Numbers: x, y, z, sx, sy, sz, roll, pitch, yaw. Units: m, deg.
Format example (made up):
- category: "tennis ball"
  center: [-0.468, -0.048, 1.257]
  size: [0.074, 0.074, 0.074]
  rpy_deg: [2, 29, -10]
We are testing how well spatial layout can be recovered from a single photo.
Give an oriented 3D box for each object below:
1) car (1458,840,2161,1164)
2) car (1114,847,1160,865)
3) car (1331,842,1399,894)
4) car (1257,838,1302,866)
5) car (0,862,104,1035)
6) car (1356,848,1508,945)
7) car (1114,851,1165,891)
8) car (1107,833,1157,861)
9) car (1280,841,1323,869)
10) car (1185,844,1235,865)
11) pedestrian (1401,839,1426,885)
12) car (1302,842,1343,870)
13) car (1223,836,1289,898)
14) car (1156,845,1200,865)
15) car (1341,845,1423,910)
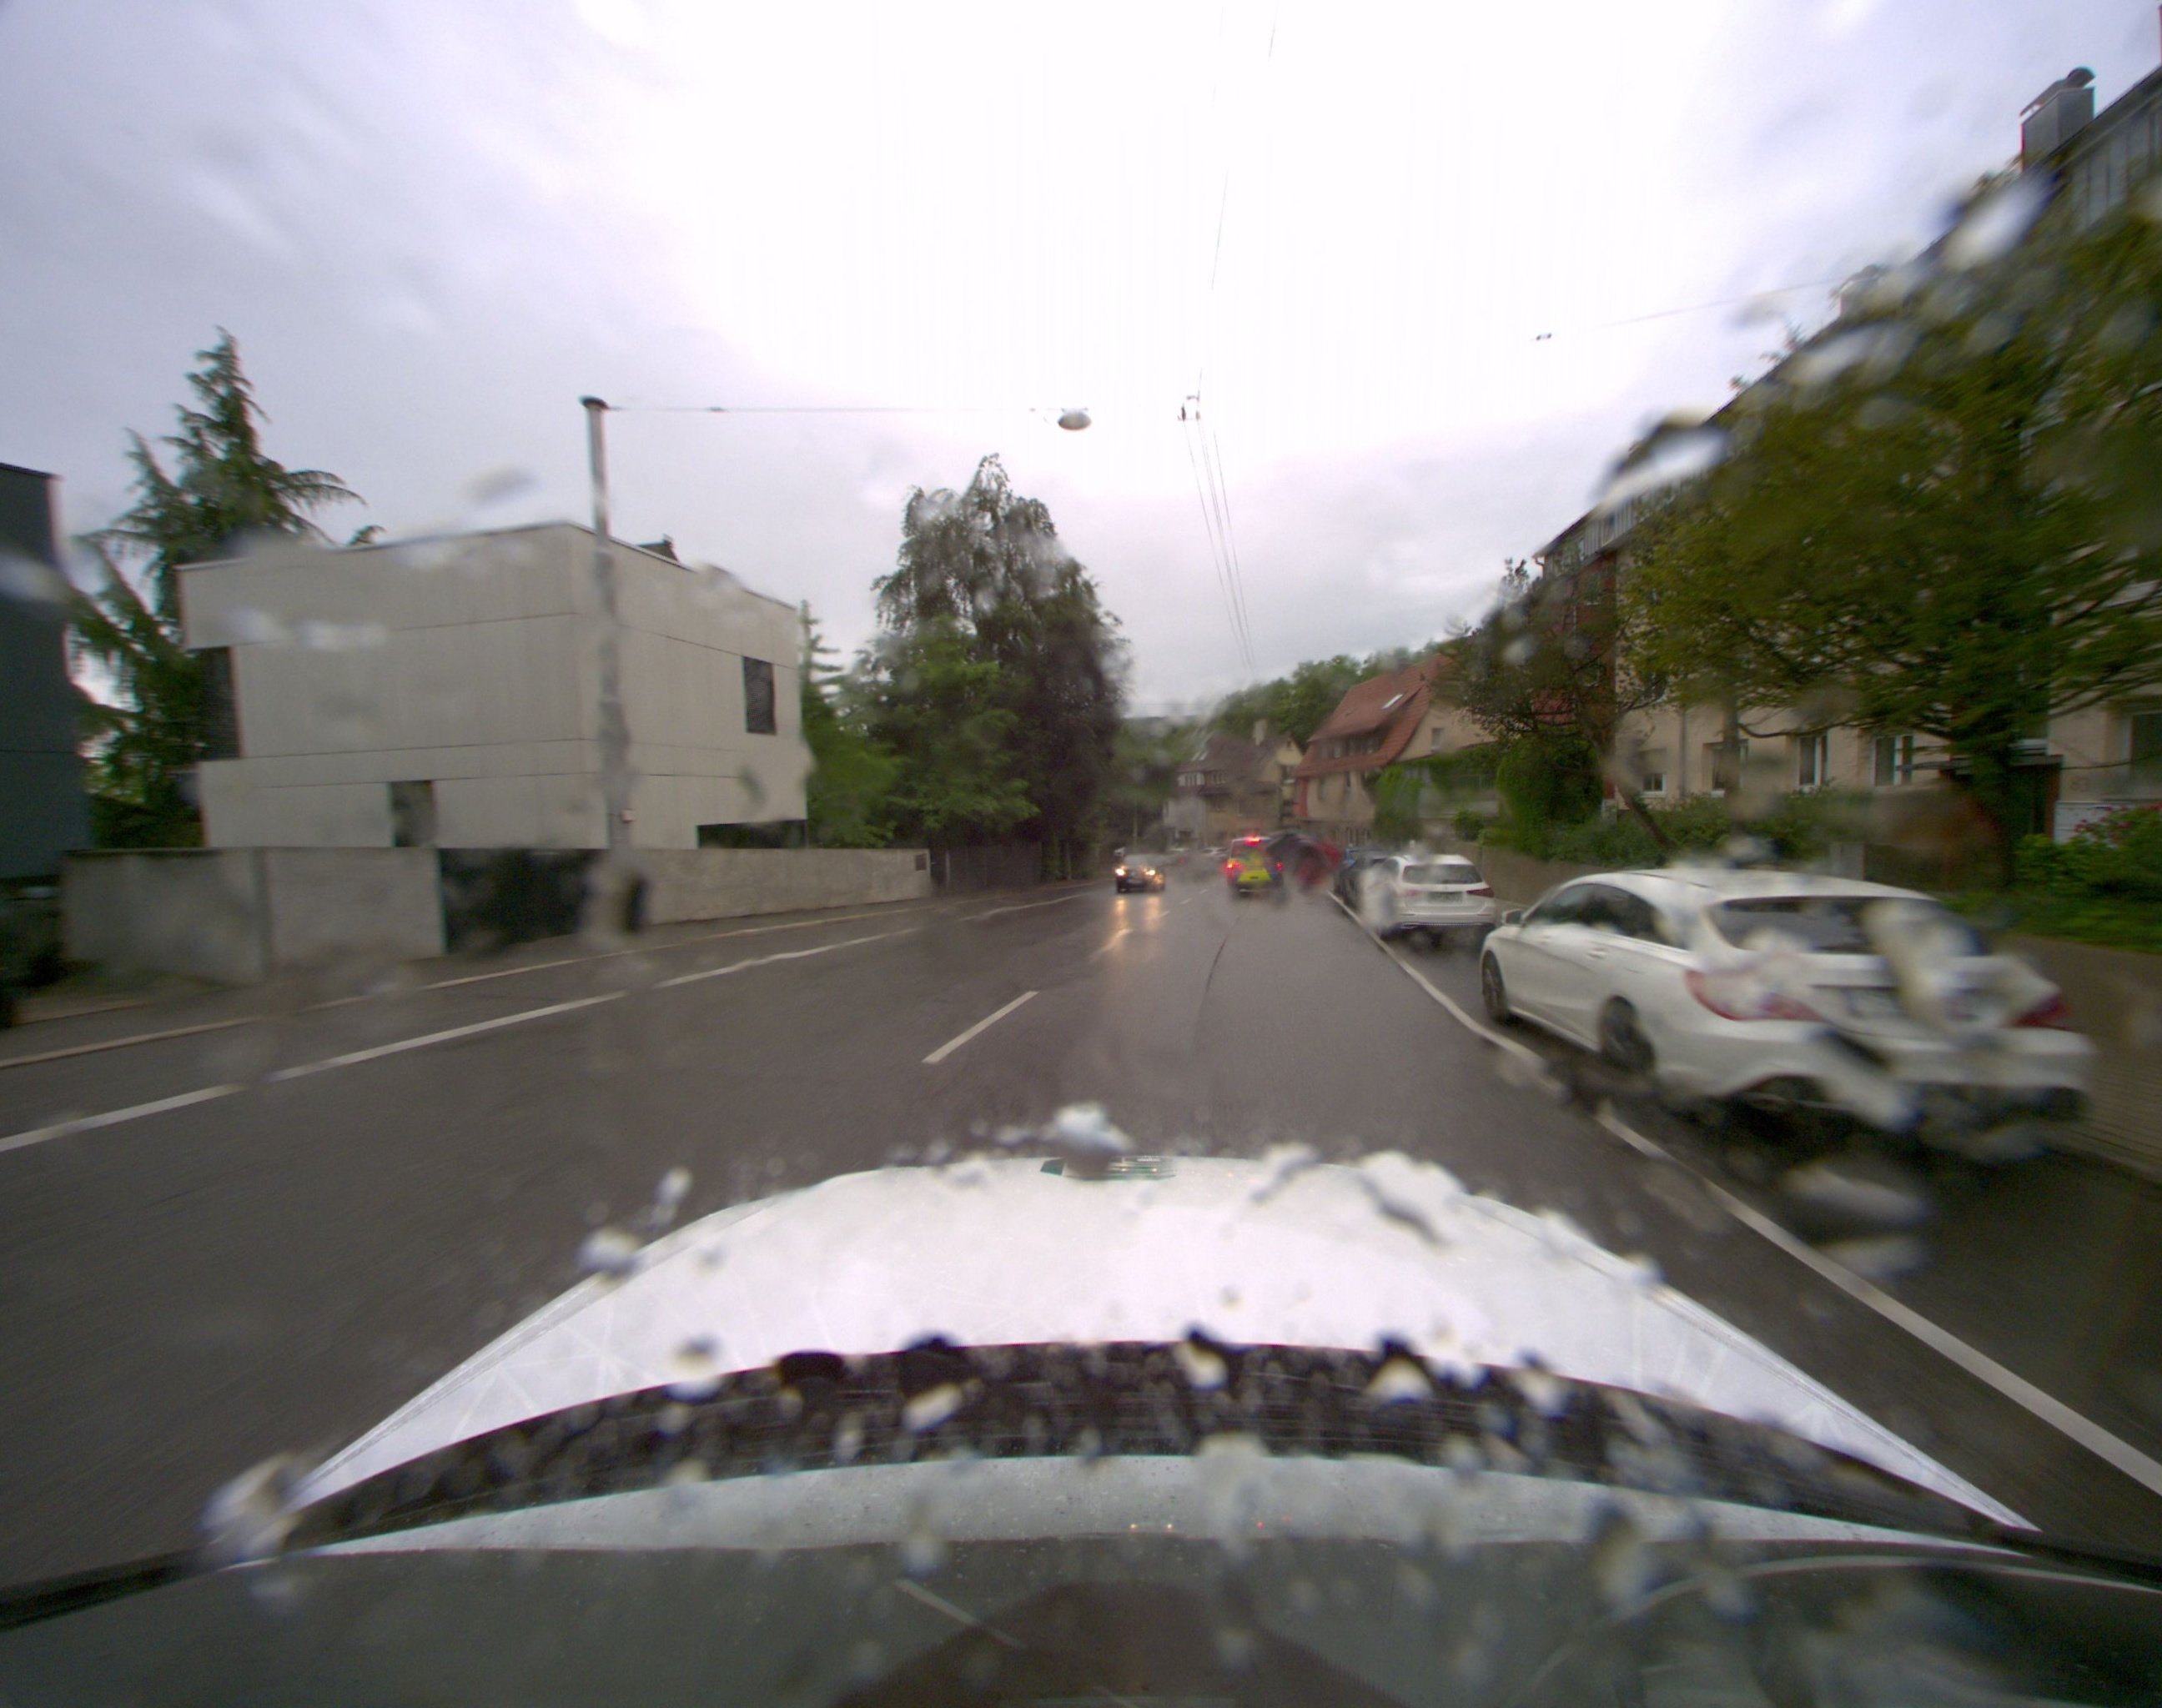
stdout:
- category: "car"
  center: [4.342, 0.680, 6.020]
  size: [1.767, 1.435, 4.584]
  rpy_deg: [-4, 0, 12]
- category: "car"
  center: [5.289, 0.221, 77.082]
  size: [4.143, 1.367, 1.797]
  rpy_deg: [-4, 2, 45]
- category: "car"
  center: [9.595, 0.416, 27.817]
  size: [1.721, 1.593, 4.269]
  rpy_deg: [-2, 1, 13]
- category: "car"
  center: [14.285, -0.200, 58.884]
  size: [1.703, 1.790, 4.318]
  rpy_deg: [-6, 1, -5]
- category: "car"
  center: [-9.977, 0.752, 6.718]
  size: [1.908, 1.301, 3.951]
  rpy_deg: [-2, 1, -43]
- category: "car"
  center: [6.226, 0.661, 14.923]
  size: [1.794, 1.455, 4.269]
  rpy_deg: [-2, 1, 13]
- category: "car"
  center: [2.390, 0.615, 32.383]
  size: [1.639, 1.420, 3.813]
  rpy_deg: [1, 1, 10]
- category: "car"
  center: [5.248, -0.759, 83.527]
  size: [4.409, 1.841, 1.989]
  rpy_deg: [-15, 6, -16]
- category: "car"
  center: [14.466, 0.048, 53.708]
  size: [1.609, 1.604, 4.413]
  rpy_deg: [-5, 1, 2]
- category: "car"
  center: [10.865, 0.064, 68.952]
  size: [1.924, 1.538, 4.376]
  rpy_deg: [-6, 1, -26]
- category: "pedestrian"
  center: [12.134, 0.288, 29.735]
  size: [0.620, 1.650, 0.611]
  rpy_deg: [-1, 0, -15]
- category: "car"
  center: [14.340, 0.101, 48.504]
  size: [1.607, 1.435, 3.587]
  rpy_deg: [-5, 1, 5]
- category: "car"
  center: [6.116, 0.440, 28.417]
  size: [1.980, 1.893, 4.586]
  rpy_deg: [-3, -1, 13]
- category: "car"
  center: [8.649, 0.126, 73.042]
  size: [1.778, 1.514, 3.783]
  rpy_deg: [-6, 1, -33]
- category: "car"
  center: [7.784, 0.541, 21.361]
  size: [1.676, 1.455, 4.273]
  rpy_deg: [-2, 1, 16]
